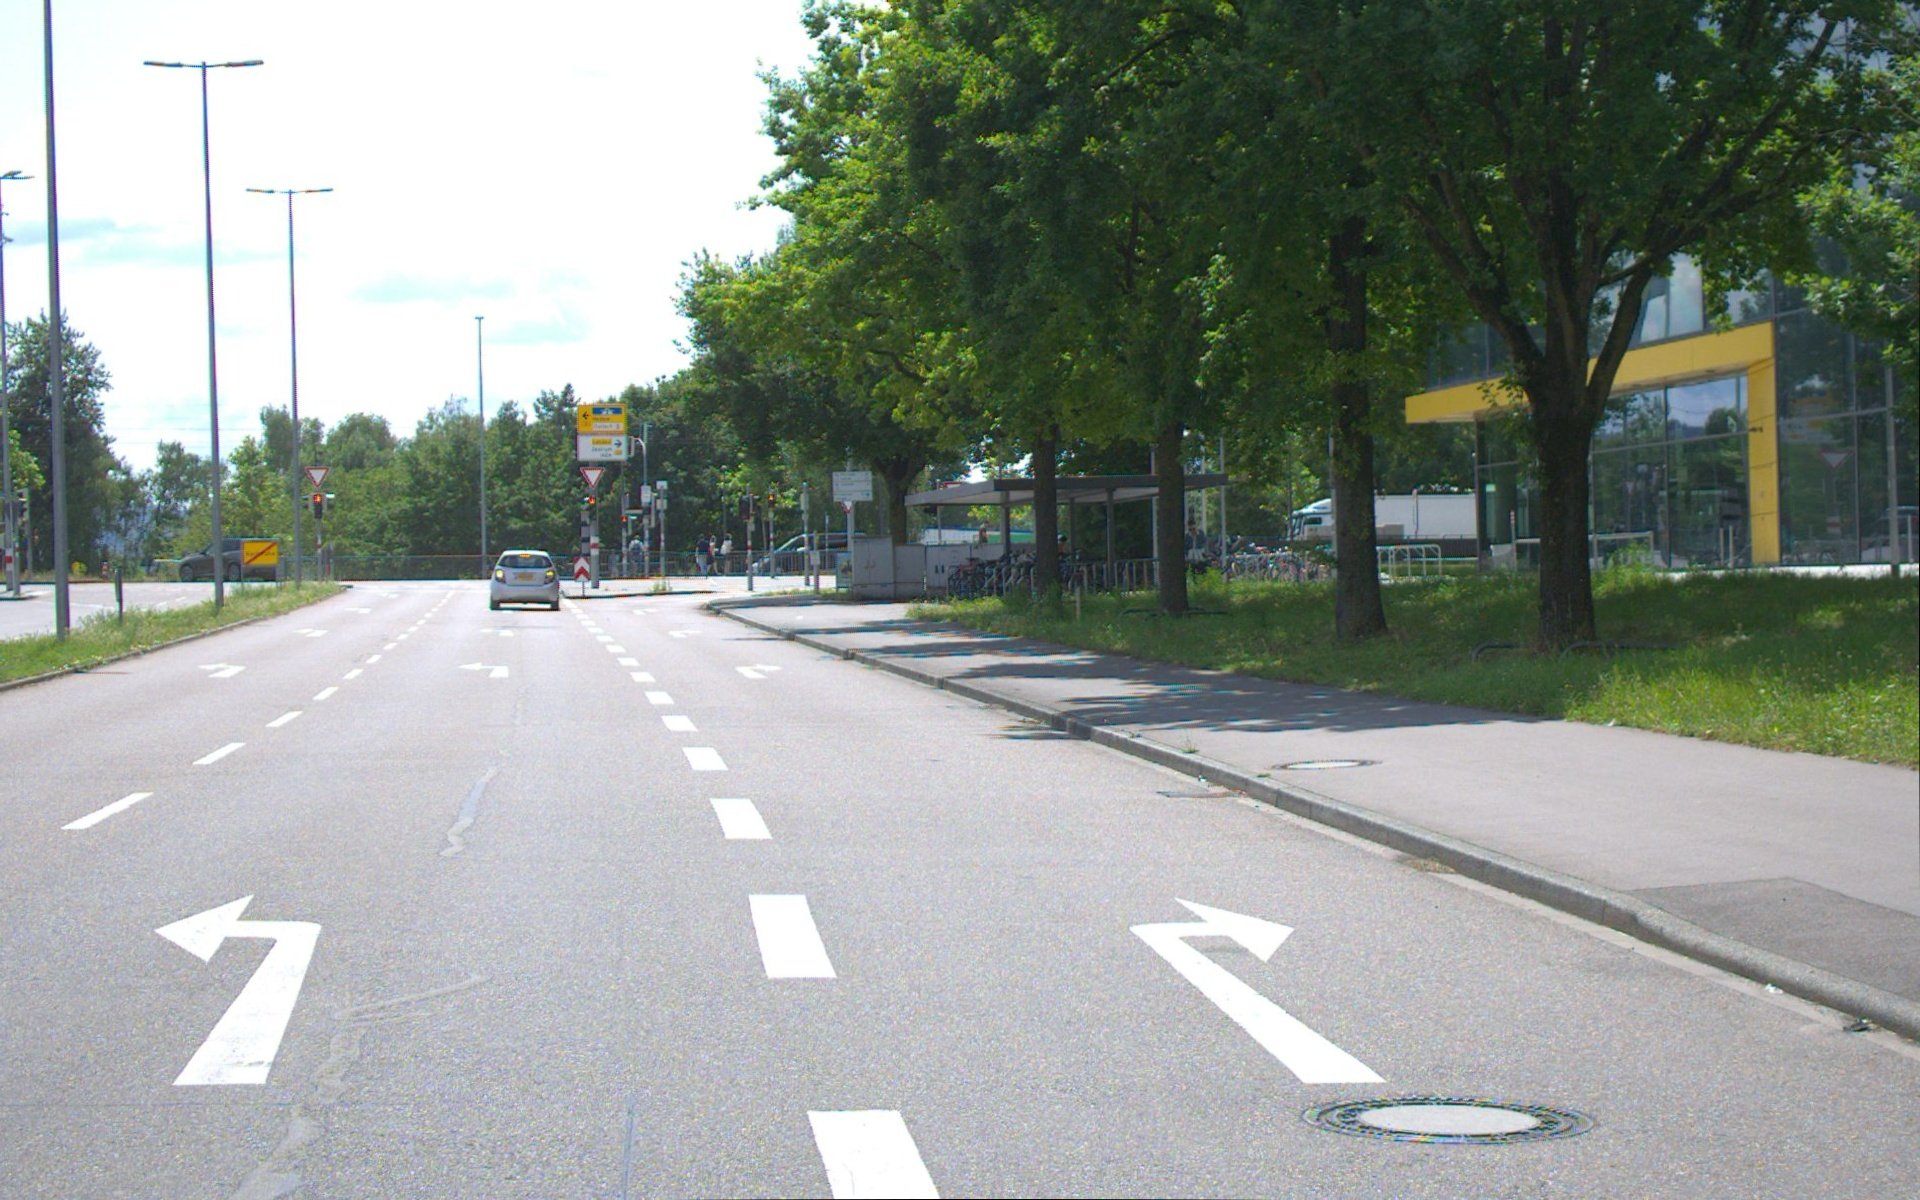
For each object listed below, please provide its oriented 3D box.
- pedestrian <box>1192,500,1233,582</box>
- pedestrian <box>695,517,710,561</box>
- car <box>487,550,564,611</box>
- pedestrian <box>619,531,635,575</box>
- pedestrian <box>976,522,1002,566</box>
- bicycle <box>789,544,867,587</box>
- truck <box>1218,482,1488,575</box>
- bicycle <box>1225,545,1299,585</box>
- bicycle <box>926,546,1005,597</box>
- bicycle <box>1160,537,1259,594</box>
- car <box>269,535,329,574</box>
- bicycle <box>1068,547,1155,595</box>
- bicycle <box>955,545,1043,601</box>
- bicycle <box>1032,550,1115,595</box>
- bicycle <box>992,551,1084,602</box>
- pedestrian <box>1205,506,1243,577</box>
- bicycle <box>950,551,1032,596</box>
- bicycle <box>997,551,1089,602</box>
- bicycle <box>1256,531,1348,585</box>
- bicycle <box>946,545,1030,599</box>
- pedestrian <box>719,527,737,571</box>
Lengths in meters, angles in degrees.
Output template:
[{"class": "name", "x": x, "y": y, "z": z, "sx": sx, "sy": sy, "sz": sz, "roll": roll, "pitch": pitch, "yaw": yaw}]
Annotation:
[{"class": "pedestrian", "x": 5.376, "y": -1.248, "z": 73.185, "sx": 0.634, "sy": 1.716, "sz": 0.524, "roll": -2, "pitch": 0, "yaw": 29}, {"class": "pedestrian", "x": -10.079, "y": -2.393, "z": 134.396, "sx": 0.523, "sy": 1.715, "sz": 0.730, "roll": -2, "pitch": 1, "yaw": -4}, {"class": "car", "x": -11.054, "y": -0.510, "z": 87.516, "sx": 1.894, "sy": 1.464, "sz": 3.834, "roll": 1, "pitch": 1, "yaw": -7}, {"class": "pedestrian", "x": -13.598, "y": -1.927, "z": 140.392, "sx": 0.611, "sy": 1.763, "sz": 0.672, "roll": -1, "pitch": 1, "yaw": -6}, {"class": "pedestrian", "x": 1.187, "y": -2.304, "z": 141.620, "sx": 0.926, "sy": 1.801, "sz": 0.736, "roll": -1, "pitch": 1, "yaw": -8}, {"class": "bicycle", "x": -3.326, "y": -0.862, "z": 86.542, "sx": 1.861, "sy": 0.991, "sz": 0.424, "roll": -3, "pitch": 0, "yaw": -12}, {"class": "truck", "x": 18.027, "y": -3.297, "z": 157.921, "sx": 11.955, "sy": 4.090, "sz": 2.953, "roll": -1, "pitch": 1, "yaw": -7}, {"class": "bicycle", "x": 7.969, "y": -0.927, "z": 90.637, "sx": 1.861, "sy": 0.991, "sz": 0.465, "roll": -1, "pitch": 1, "yaw": -11}, {"class": "bicycle", "x": 0.139, "y": -0.705, "z": 84.231, "sx": 1.861, "sy": 1.183, "sz": 0.424, "roll": -2, "pitch": 1, "yaw": -12}, {"class": "bicycle", "x": 5.274, "y": -0.727, "z": 72.737, "sx": 2.011, "sy": 1.104, "sz": 0.576, "roll": -2, "pitch": 1, "yaw": 31}, {"class": "car", "x": -26.210, "y": -1.798, "z": 136.291, "sx": 1.894, "sy": 1.464, "sz": 3.835, "roll": 0, "pitch": 1, "yaw": -17}, {"class": "bicycle", "x": 3.424, "y": -0.660, "z": 77.600, "sx": 1.861, "sy": 0.991, "sz": 0.424, "roll": -3, "pitch": 0, "yaw": -12}, {"class": "bicycle", "x": 0.865, "y": -0.603, "z": 77.105, "sx": 1.895, "sy": 1.166, "sz": 0.424, "roll": -2, "pitch": 1, "yaw": -6}, {"class": "bicycle", "x": 2.671, "y": -0.652, "z": 80.861, "sx": 1.861, "sy": 0.991, "sz": 0.424, "roll": -2, "pitch": -1, "yaw": -12}, {"class": "bicycle", "x": 1.676, "y": -0.504, "z": 73.741, "sx": 1.861, "sy": 0.991, "sz": 0.424, "roll": -3, "pitch": 1, "yaw": -12}, {"class": "pedestrian", "x": 7.769, "y": -1.711, "z": 101.138, "sx": 1.008, "sy": 2.065, "sz": 0.974, "roll": -1, "pitch": 0, "yaw": 7}, {"class": "bicycle", "x": 0.729, "y": -0.620, "z": 80.802, "sx": 1.861, "sy": 0.991, "sz": 0.424, "roll": -2, "pitch": 1, "yaw": -12}, {"class": "bicycle", "x": 1.771, "y": -0.502, "z": 73.259, "sx": 1.861, "sy": 0.991, "sz": 0.424, "roll": -3, "pitch": 1, "yaw": -12}, {"class": "bicycle", "x": 8.325, "y": -1.028, "z": 83.709, "sx": 2.140, "sy": 1.225, "sz": 0.721, "roll": -2, "pitch": 1, "yaw": 3}, {"class": "bicycle", "x": 0.648, "y": -0.647, "z": 79.322, "sx": 1.861, "sy": 1.183, "sz": 0.424, "roll": -2, "pitch": 1, "yaw": -12}, {"class": "pedestrian", "x": -9.399, "y": -2.055, "z": 139.100, "sx": 0.676, "sy": 1.742, "sz": 0.637, "roll": -1, "pitch": 2, "yaw": -5}]
